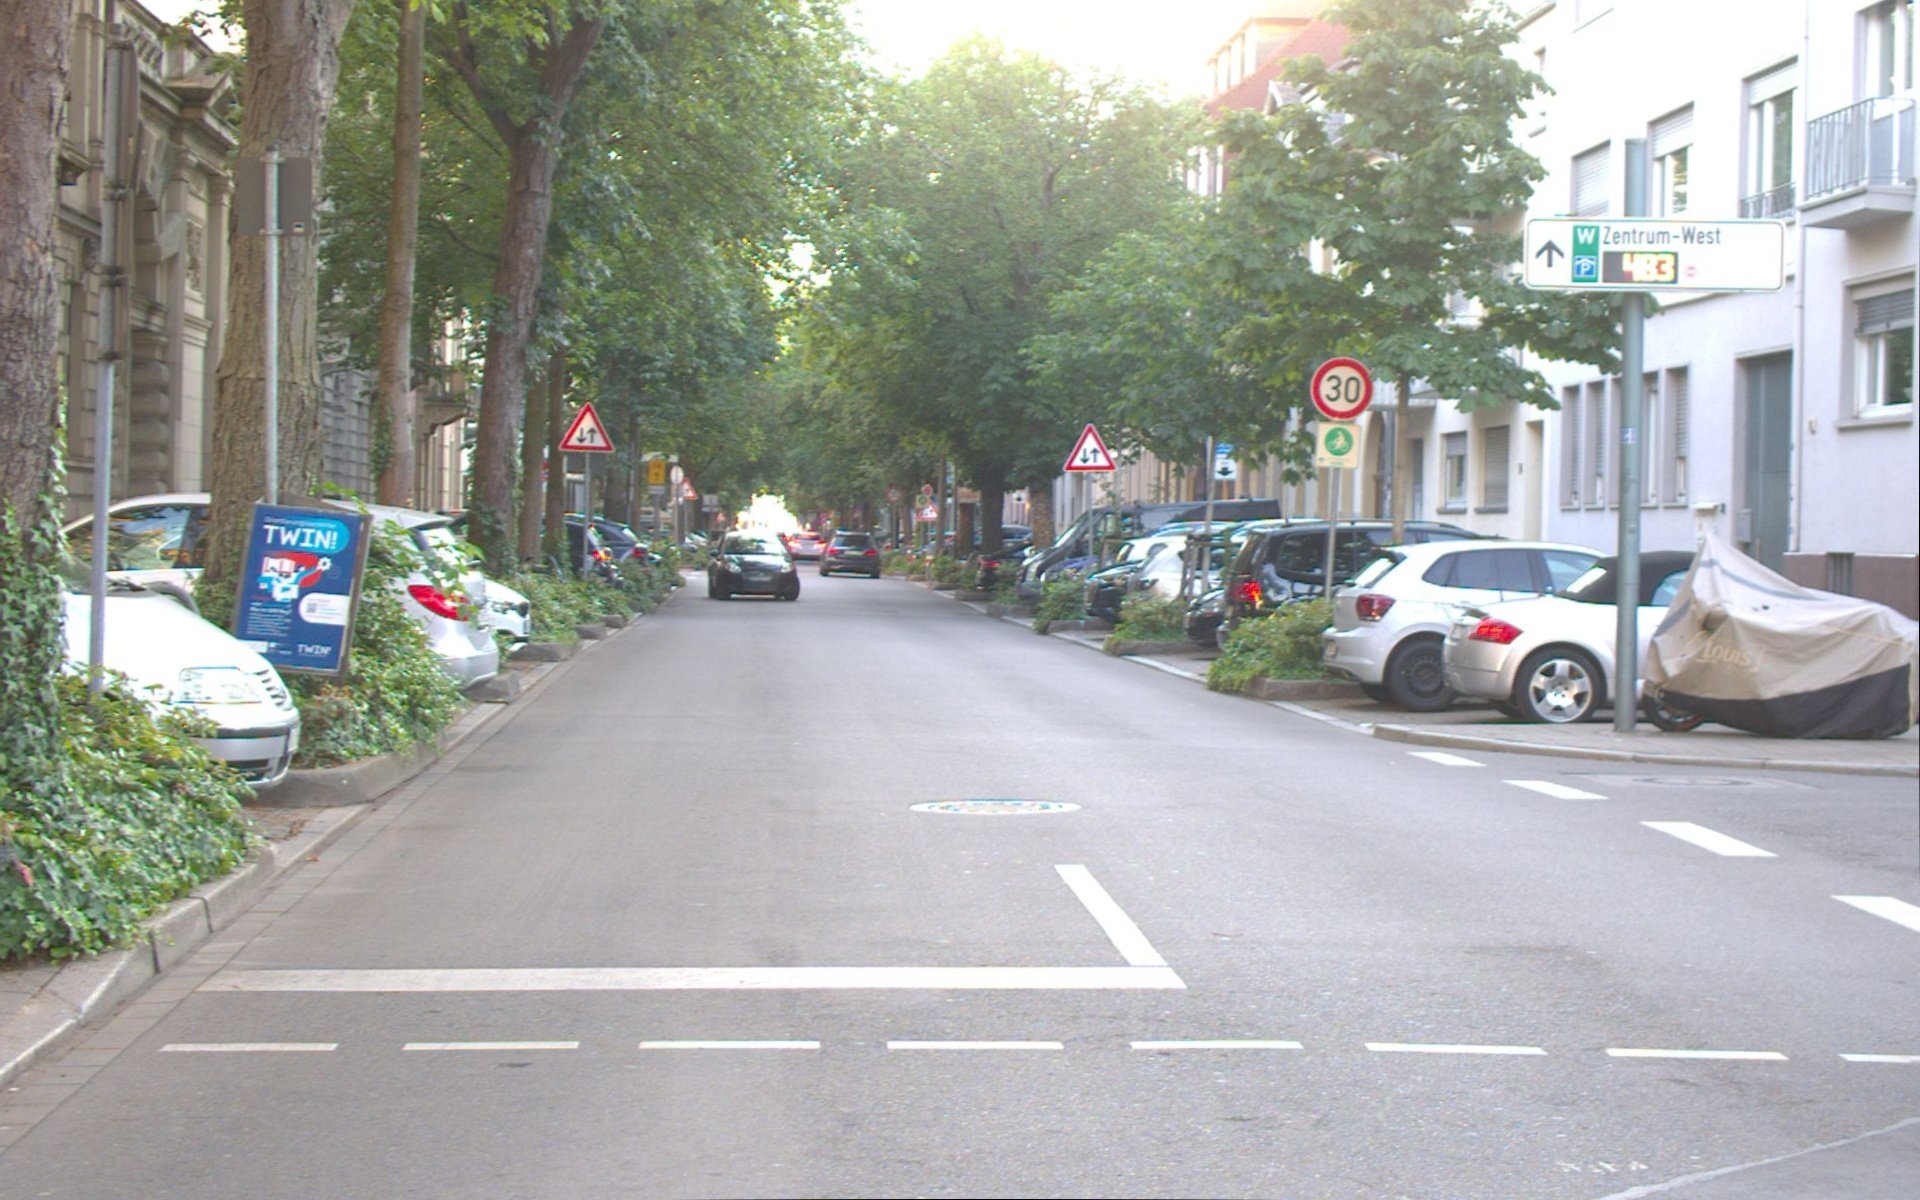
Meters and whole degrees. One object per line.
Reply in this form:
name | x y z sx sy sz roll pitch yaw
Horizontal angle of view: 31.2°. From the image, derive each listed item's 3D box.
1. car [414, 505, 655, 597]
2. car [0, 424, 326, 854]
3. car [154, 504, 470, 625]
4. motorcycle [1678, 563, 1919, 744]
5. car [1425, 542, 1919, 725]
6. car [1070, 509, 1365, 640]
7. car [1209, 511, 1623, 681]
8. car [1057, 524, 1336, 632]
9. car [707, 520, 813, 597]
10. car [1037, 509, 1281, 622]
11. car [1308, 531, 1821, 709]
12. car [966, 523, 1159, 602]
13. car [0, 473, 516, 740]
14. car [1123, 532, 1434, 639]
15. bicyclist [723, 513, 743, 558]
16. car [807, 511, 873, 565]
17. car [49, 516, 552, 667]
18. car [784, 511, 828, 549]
car | -8.386 -0.973 68.029 4.547 1.686 1.833 1 1 -2
car | -5.242 0.129 15.457 4.547 1.828 1.833 1 1 -6
car | -8.898 -0.504 47.441 4.038 1.584 1.833 1 1 -2
motorcycle | 5.871 0.357 23.552 1.800 1.195 0.613 1 1 6
car | 5.778 0.245 26.786 4.014 1.338 1.707 1 1 -2
car | 3.662 -0.382 49.292 4.014 1.809 1.707 1 1 -3
car | 4.702 -0.057 35.805 4.014 1.684 1.707 1 1 -3
car | 3.559 -0.346 52.149 4.014 1.525 1.707 1 1 -3
car | -4.403 -0.922 75.136 1.903 1.572 3.992 2 1 -9
car | 3.413 -0.602 59.431 4.014 1.824 1.707 1 1 -3
car | 5.103 0.148 29.358 4.014 1.437 1.707 1 1 -3
car | 2.198 -0.818 74.385 4.014 1.596 1.707 1 1 -3
car | -5.348 0.016 23.011 4.547 1.683 1.833 1 1 -2
car | 4.327 -0.209 47.019 4.014 1.404 1.707 1 1 -3
bicyclist | -7.588 -2.158 114.879 0.571 1.465 0.643 2 0 -9
car | -3.705 -1.907 105.861 1.825 1.556 4.028 2 1 -4
car | -6.308 -0.101 33.269 4.547 1.367 1.833 1 1 -2
car | -7.077 -3.210 157.596 1.924 1.654 4.001 1 1 -3
